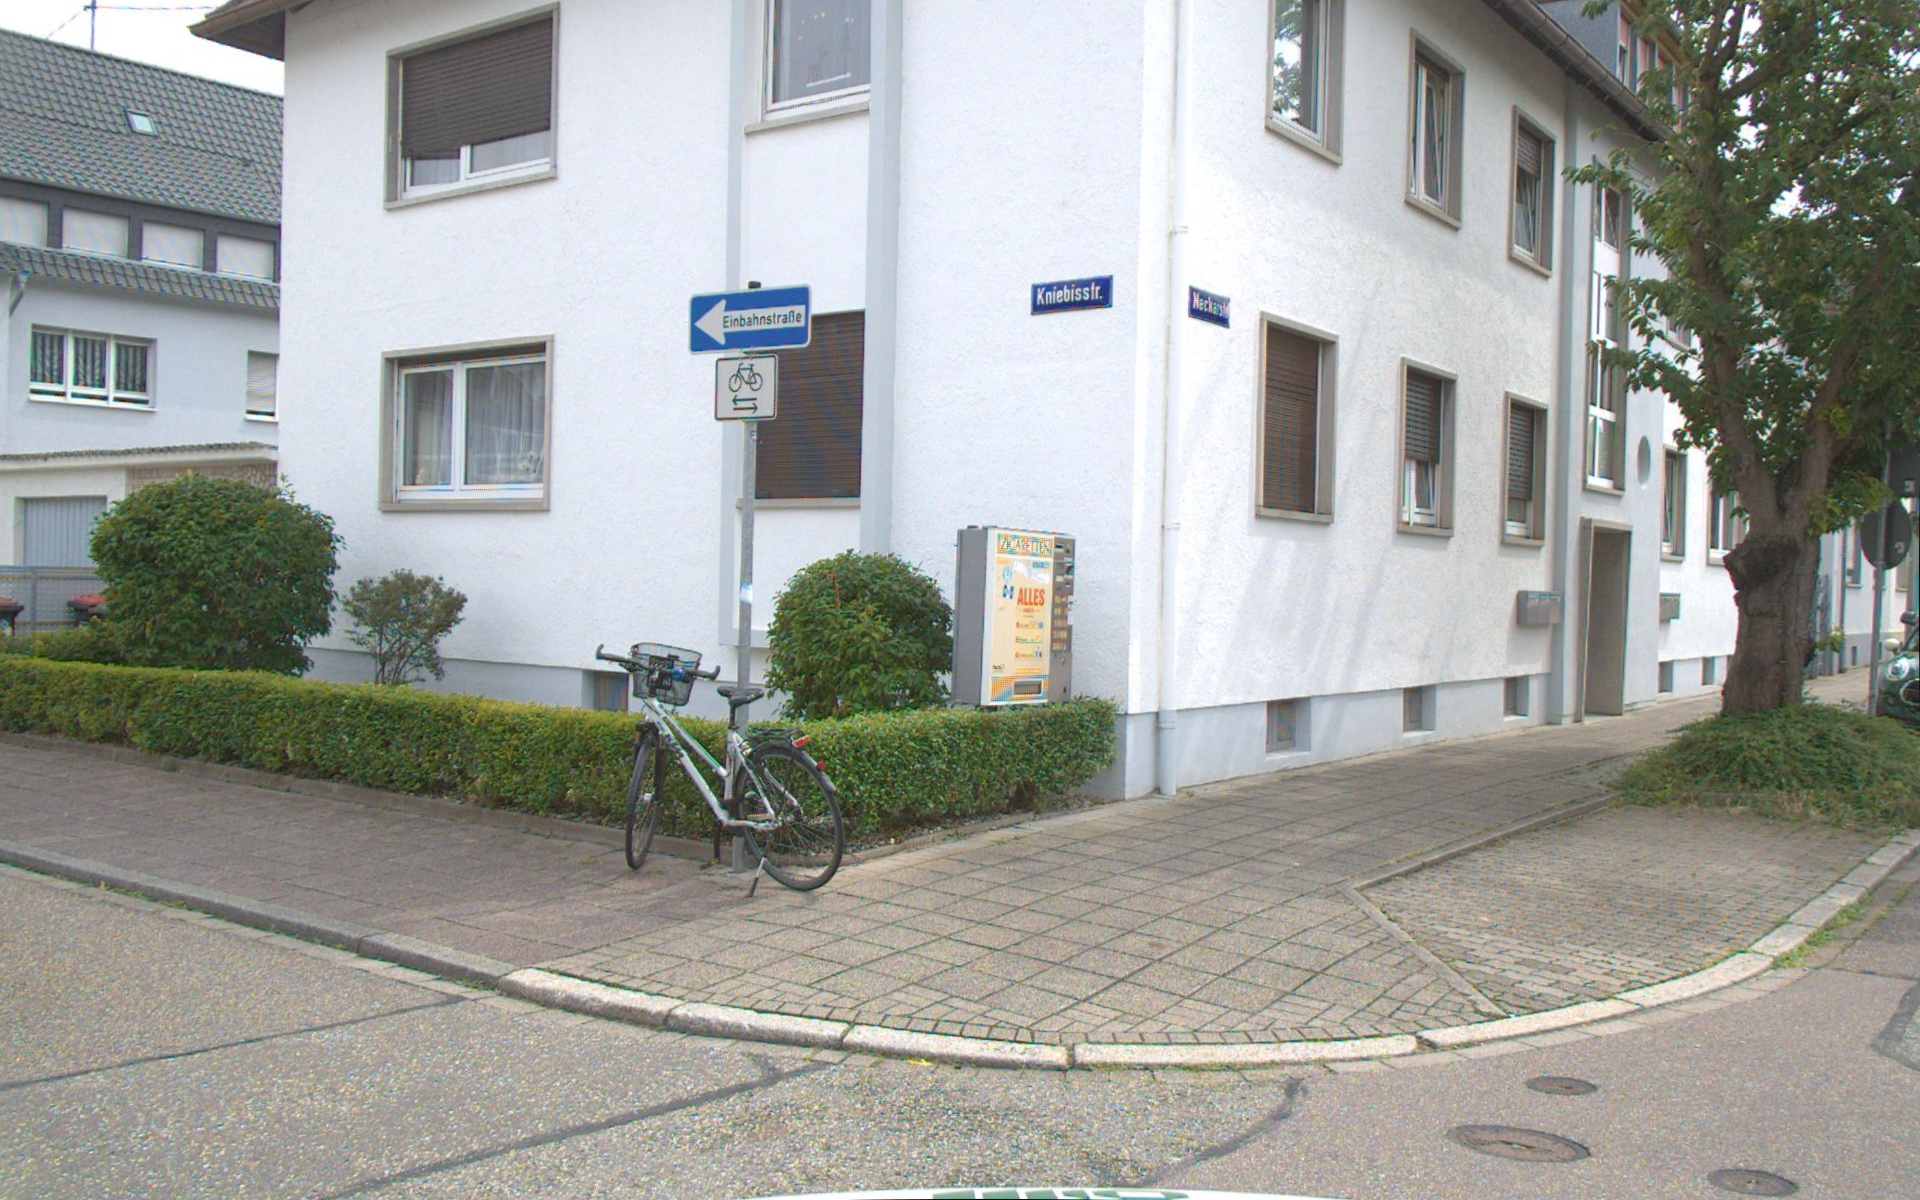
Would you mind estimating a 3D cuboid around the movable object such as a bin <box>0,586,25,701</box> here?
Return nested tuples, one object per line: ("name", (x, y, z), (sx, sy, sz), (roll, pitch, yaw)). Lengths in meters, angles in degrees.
("movable object such as a bin", (-9.968, 0.442, 16.808), (0.740, 1.157, 0.579), (-1, -1, 38))

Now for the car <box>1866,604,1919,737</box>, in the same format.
("car", (12.820, 0.842, 20.913), (1.736, 1.581, 3.711), (-1, -1, 40))

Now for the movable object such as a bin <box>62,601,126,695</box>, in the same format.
("movable object such as a bin", (-9.280, 0.504, 17.726), (0.497, 0.990, 0.453), (-1, -1, 38))

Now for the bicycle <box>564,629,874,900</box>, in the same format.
("bicycle", (-1.189, 0.746, 8.001), (1.604, 1.200, 0.434), (-1, -1, 33))

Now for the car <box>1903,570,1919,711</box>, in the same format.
("car", (15.915, 0.622, 25.429), (1.960, 2.049, 4.503), (2, 1, 36))

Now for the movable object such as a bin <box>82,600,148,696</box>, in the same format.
("movable object such as a bin", (-8.889, 0.496, 17.396), (0.497, 0.990, 0.453), (-1, -1, 38))
